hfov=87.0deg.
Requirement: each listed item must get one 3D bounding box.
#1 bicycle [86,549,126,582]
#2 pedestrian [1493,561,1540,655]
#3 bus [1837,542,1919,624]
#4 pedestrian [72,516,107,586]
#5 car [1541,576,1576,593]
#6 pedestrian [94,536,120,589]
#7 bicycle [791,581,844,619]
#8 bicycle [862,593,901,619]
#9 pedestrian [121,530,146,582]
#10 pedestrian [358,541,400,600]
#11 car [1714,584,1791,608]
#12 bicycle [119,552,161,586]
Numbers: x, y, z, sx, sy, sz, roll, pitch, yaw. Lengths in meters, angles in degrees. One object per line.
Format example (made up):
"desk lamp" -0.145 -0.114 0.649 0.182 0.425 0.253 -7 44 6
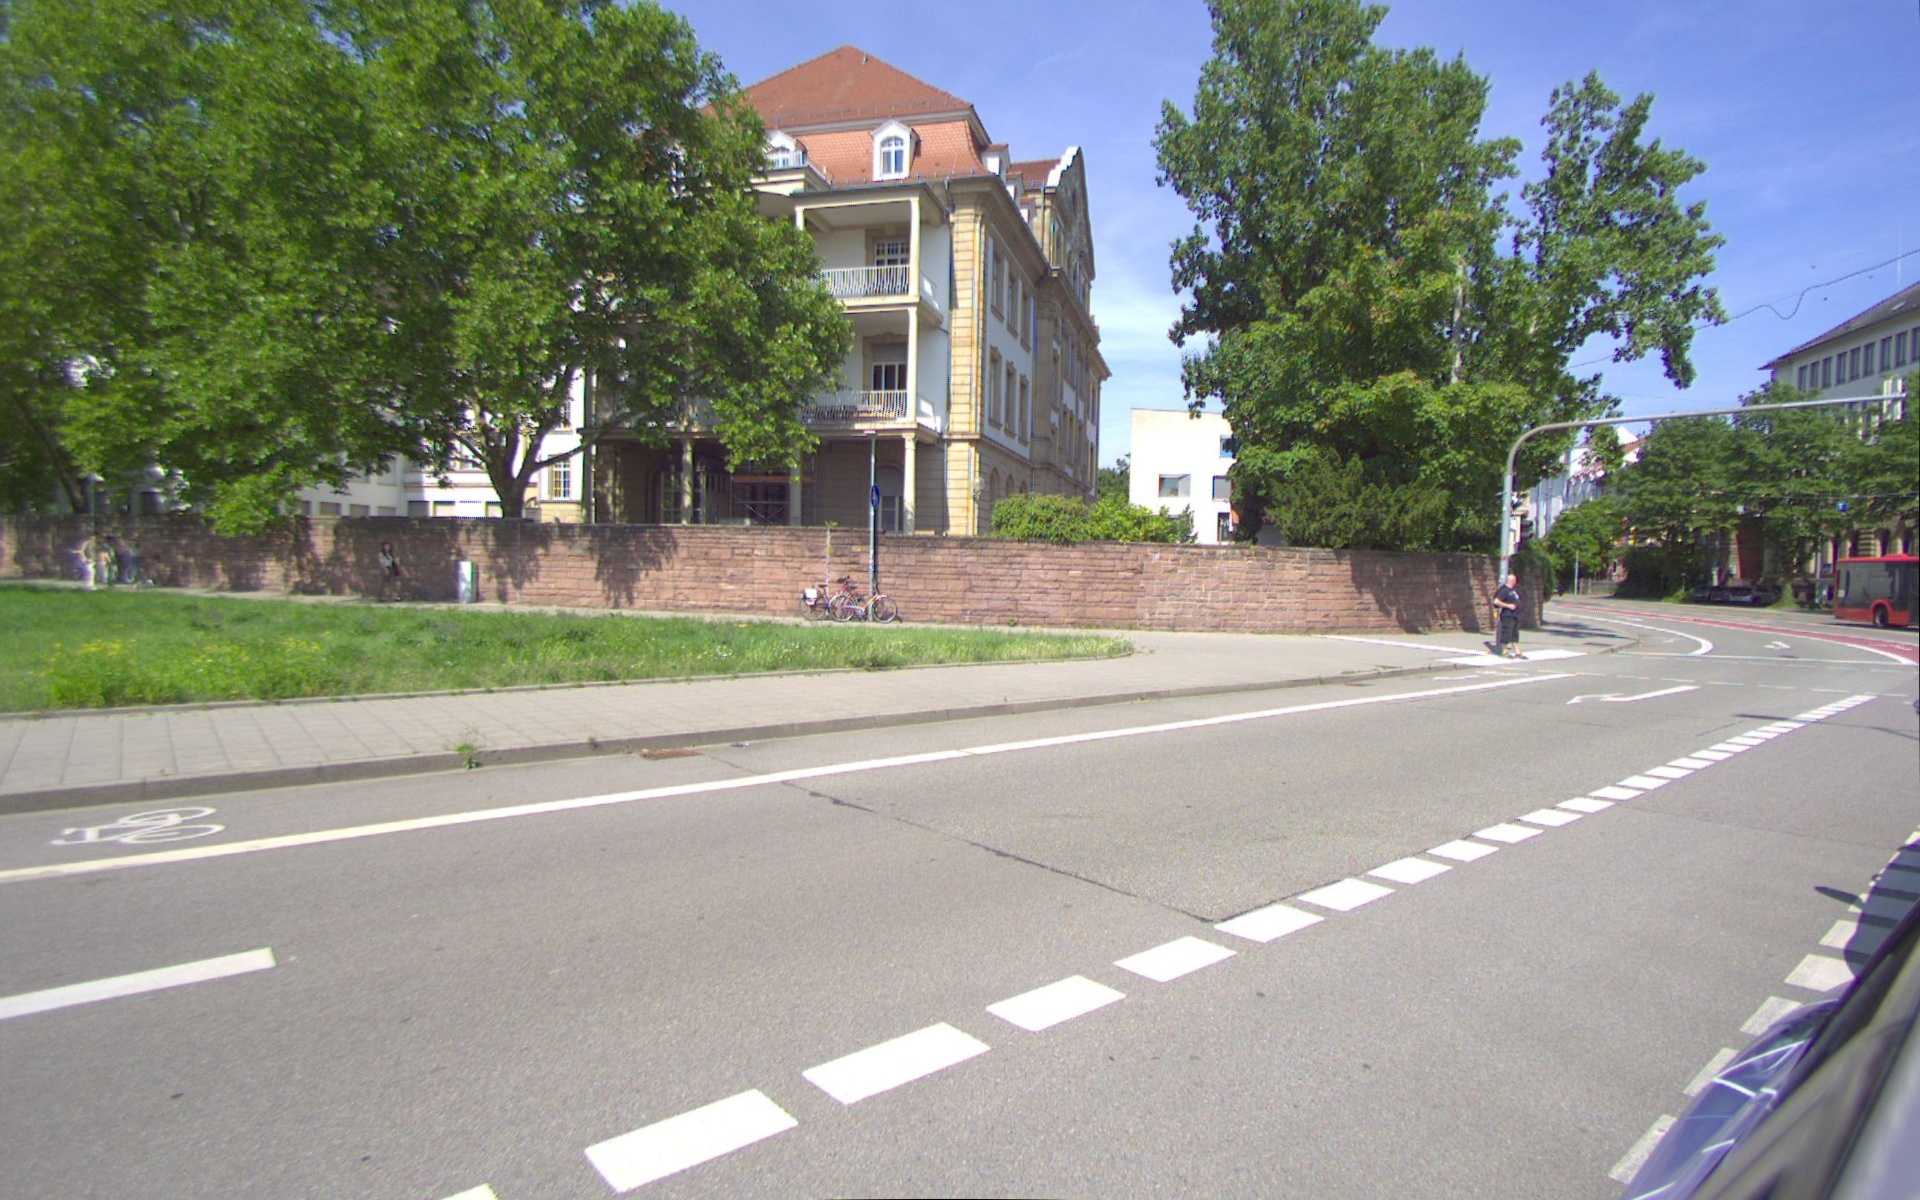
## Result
"bicycle" -28.462 -1.146 33.741 1.432 1.046 0.444 3 2 24
"pedestrian" 12.365 0.159 22.484 0.790 2.038 0.608 2 1 35
"bus" 38.276 -0.650 37.775 3.087 3.133 12.359 0 1 14
"pedestrian" -25.814 -1.454 30.001 0.586 2.038 0.522 1 2 9
"car" 57.744 -1.490 97.693 1.973 1.638 3.978 0 0 17
"pedestrian" -26.304 -1.160 31.202 0.700 1.597 0.516 3 3 41
"bicycle" -3.495 -0.006 24.797 1.202 0.894 0.395 1 2 -21
"bicycle" -1.944 0.139 25.009 0.929 0.609 0.275 2 2 -2
"pedestrian" -25.894 -1.376 31.707 0.700 1.597 0.516 3 3 41
"pedestrian" -15.891 -0.812 27.673 0.900 1.567 0.501 2 2 13
"car" 59.020 -0.289 75.435 3.941 1.682 1.993 0 3 14
"bicycle" -26.561 -0.996 32.771 1.432 1.046 0.444 3 2 24
